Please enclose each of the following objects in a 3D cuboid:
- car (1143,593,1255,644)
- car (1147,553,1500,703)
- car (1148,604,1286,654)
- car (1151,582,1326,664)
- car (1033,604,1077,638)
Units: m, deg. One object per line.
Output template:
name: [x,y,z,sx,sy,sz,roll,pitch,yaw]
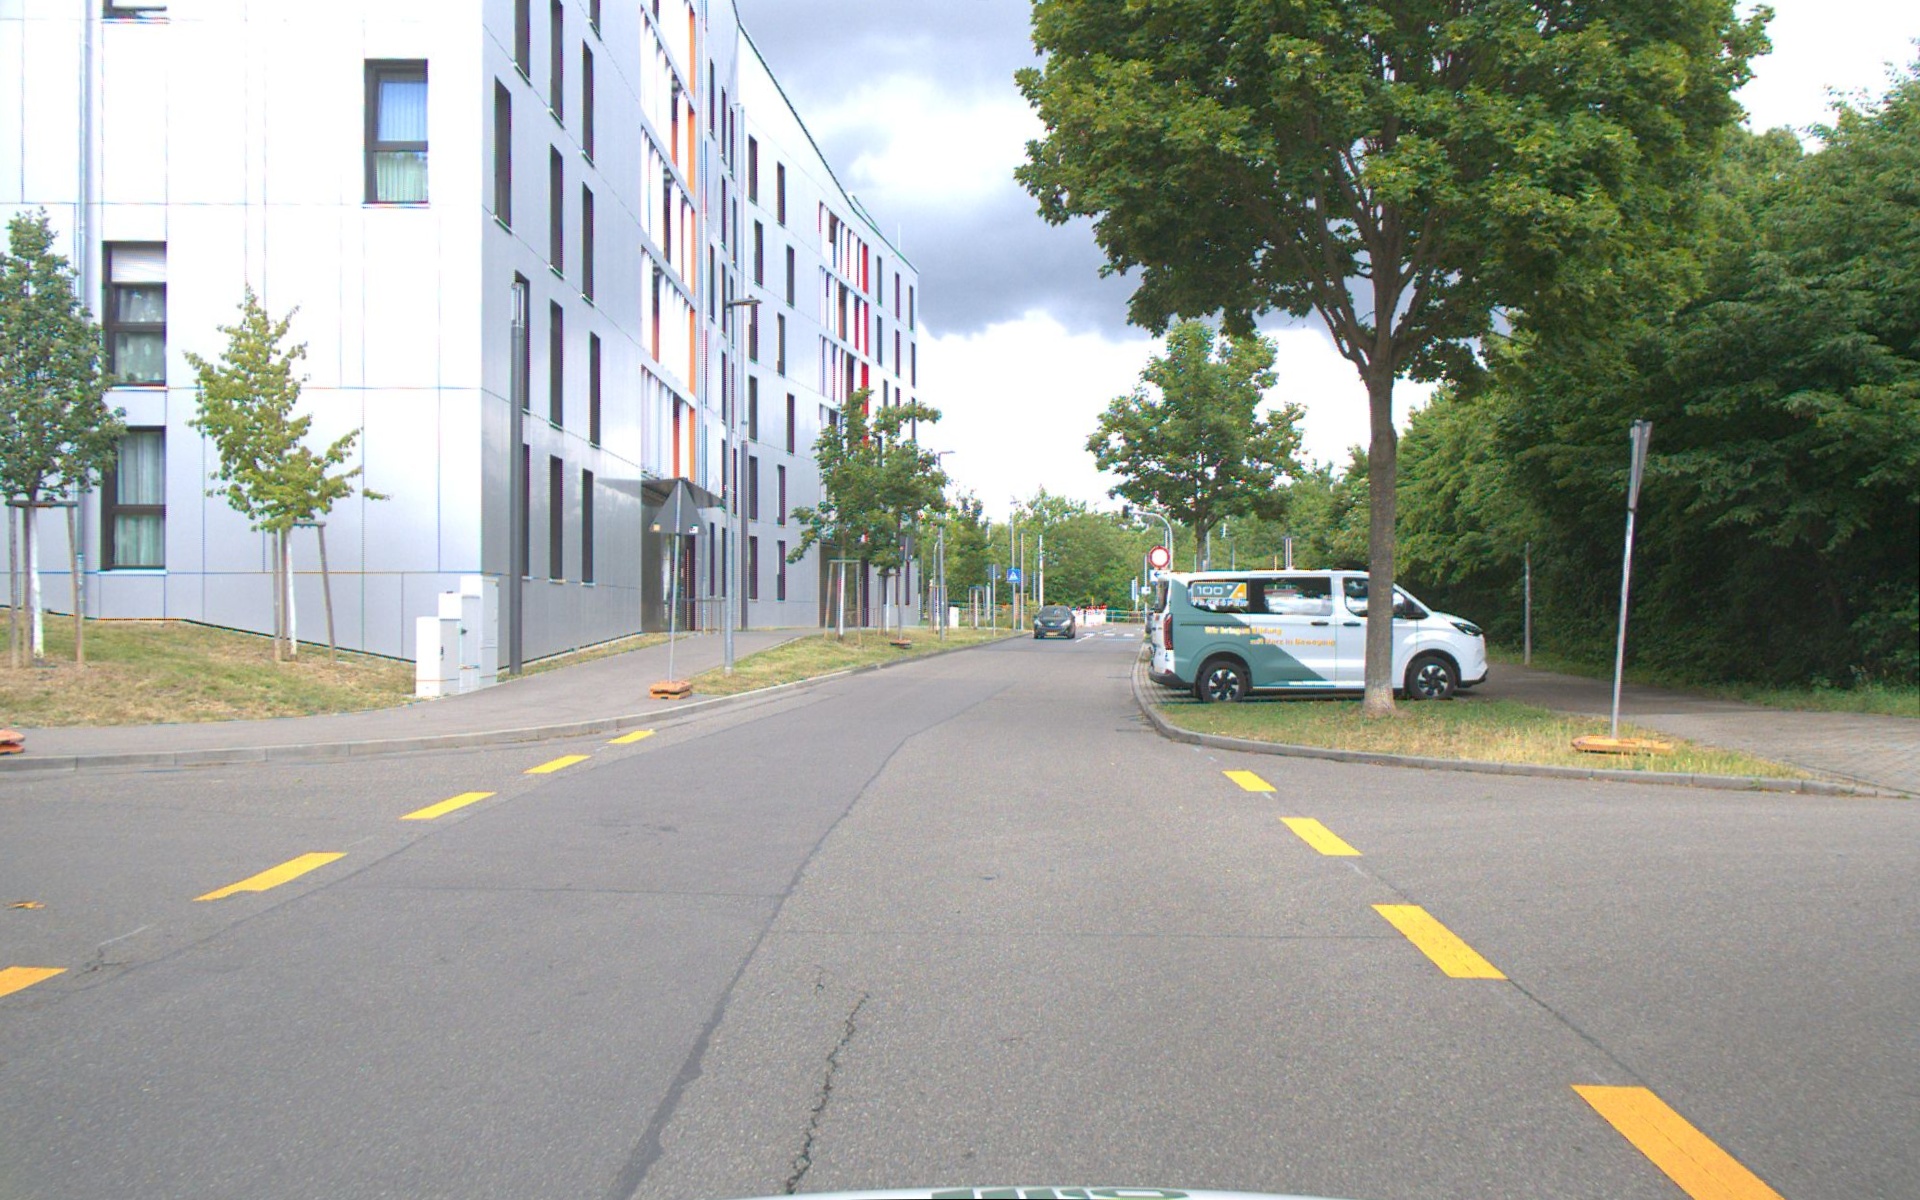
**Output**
car: [9.422,0.720,65.580,4.286,1.937,1.917,1,0,5]
car: [5.370,0.405,24.893,4.870,2.006,1.847,-2,0,1]
car: [8.233,0.922,53.308,4.286,1.501,1.917,1,0,5]
car: [7.133,0.578,42.729,4.286,1.937,1.917,-2,0,5]
car: [4.177,0.891,72.241,1.575,1.412,4.003,1,0,8]
